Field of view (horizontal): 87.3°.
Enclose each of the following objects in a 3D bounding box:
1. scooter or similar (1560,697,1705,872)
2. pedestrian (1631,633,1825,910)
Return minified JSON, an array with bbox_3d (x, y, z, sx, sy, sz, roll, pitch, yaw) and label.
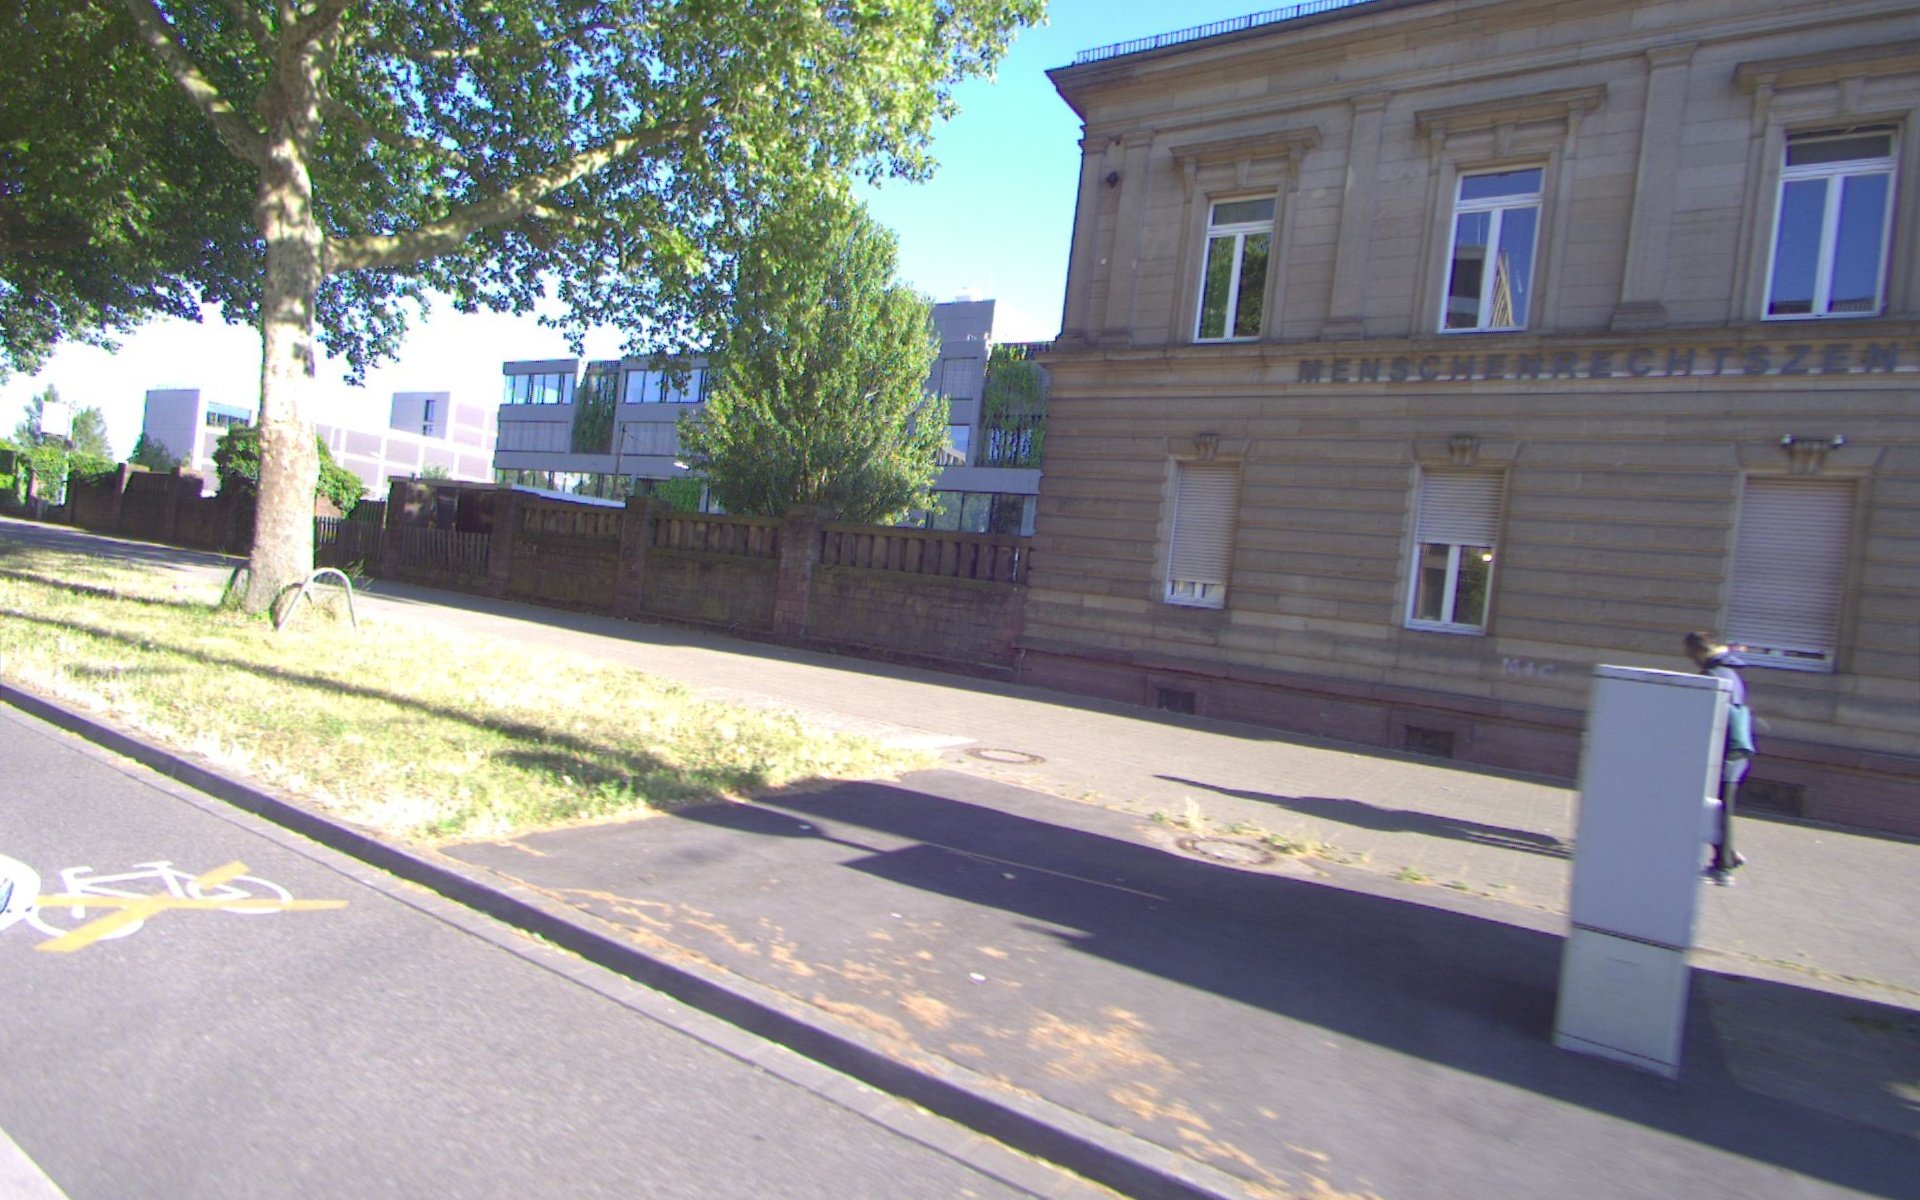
[{"bbox_3d":[5.311,1.428,8.004,0.746,1.171,0.719,7,2,26],"label":"scooter or similar"},{"bbox_3d":[5.426,1.157,7.175,0.782,1.767,0.770,7,2,26],"label":"pedestrian"}]
